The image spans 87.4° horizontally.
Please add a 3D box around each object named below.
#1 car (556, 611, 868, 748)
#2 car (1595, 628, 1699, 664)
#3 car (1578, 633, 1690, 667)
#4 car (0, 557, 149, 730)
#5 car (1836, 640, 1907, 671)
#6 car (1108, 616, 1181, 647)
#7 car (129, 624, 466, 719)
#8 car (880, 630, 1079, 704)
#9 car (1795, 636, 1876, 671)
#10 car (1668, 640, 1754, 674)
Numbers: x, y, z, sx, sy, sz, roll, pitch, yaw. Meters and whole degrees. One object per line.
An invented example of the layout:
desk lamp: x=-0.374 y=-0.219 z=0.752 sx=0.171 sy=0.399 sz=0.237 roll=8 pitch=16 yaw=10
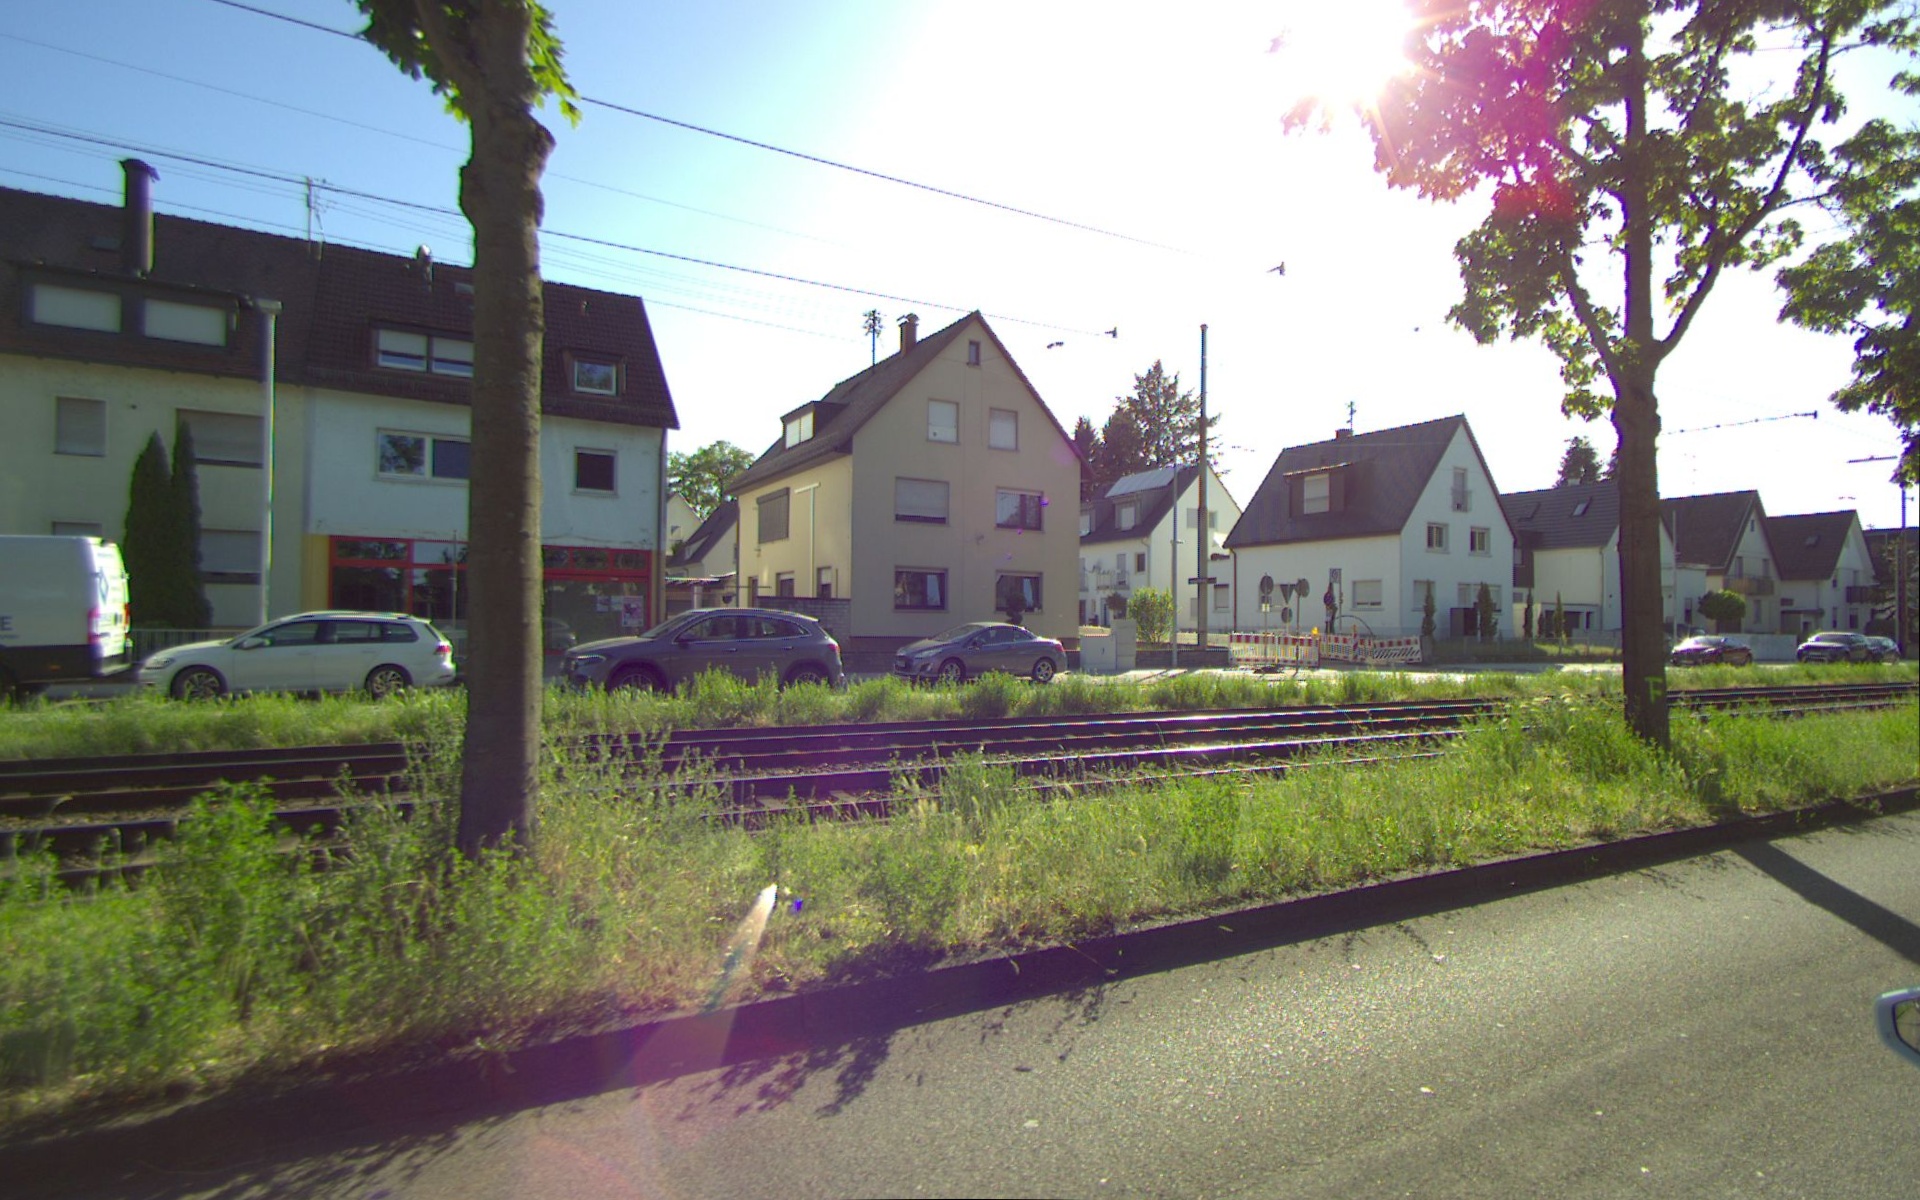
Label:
car: x=-3.906 y=1.198 z=16.000 sx=4.469 sy=1.908 sz=1.907 roll=2 pitch=-1 yaw=-29
car: x=35.321 y=2.359 z=51.723 sx=1.979 sy=1.691 sz=3.963 roll=2 pitch=-1 yaw=-33
car: x=33.068 y=2.438 z=49.380 sx=1.918 sy=1.483 sz=4.188 roll=2 pitch=-1 yaw=-33
car: x=-16.018 y=0.566 z=14.341 sx=6.598 sy=2.492 sz=1.983 roll=2 pitch=-1 yaw=-31
car: x=46.881 y=2.861 z=51.641 sx=3.942 sy=1.470 sz=1.606 roll=2 pitch=-1 yaw=-30
car: x=11.259 y=1.938 z=61.338 sx=3.942 sy=1.799 sz=1.990 roll=1 pitch=-1 yaw=-22
car: x=-11.165 y=1.186 z=17.339 sx=4.604 sy=1.431 sz=1.815 roll=2 pitch=-1 yaw=-31
car: x=0.492 y=1.560 z=24.341 sx=4.444 sy=1.602 sz=1.984 roll=1 pitch=-1 yaw=-30
car: x=43.085 y=2.643 z=49.441 sx=4.333 sy=1.589 sz=1.637 roll=2 pitch=-1 yaw=-29
car: x=32.463 y=2.468 z=43.379 sx=3.951 sy=1.343 sz=1.487 roll=2 pitch=-1 yaw=-29
